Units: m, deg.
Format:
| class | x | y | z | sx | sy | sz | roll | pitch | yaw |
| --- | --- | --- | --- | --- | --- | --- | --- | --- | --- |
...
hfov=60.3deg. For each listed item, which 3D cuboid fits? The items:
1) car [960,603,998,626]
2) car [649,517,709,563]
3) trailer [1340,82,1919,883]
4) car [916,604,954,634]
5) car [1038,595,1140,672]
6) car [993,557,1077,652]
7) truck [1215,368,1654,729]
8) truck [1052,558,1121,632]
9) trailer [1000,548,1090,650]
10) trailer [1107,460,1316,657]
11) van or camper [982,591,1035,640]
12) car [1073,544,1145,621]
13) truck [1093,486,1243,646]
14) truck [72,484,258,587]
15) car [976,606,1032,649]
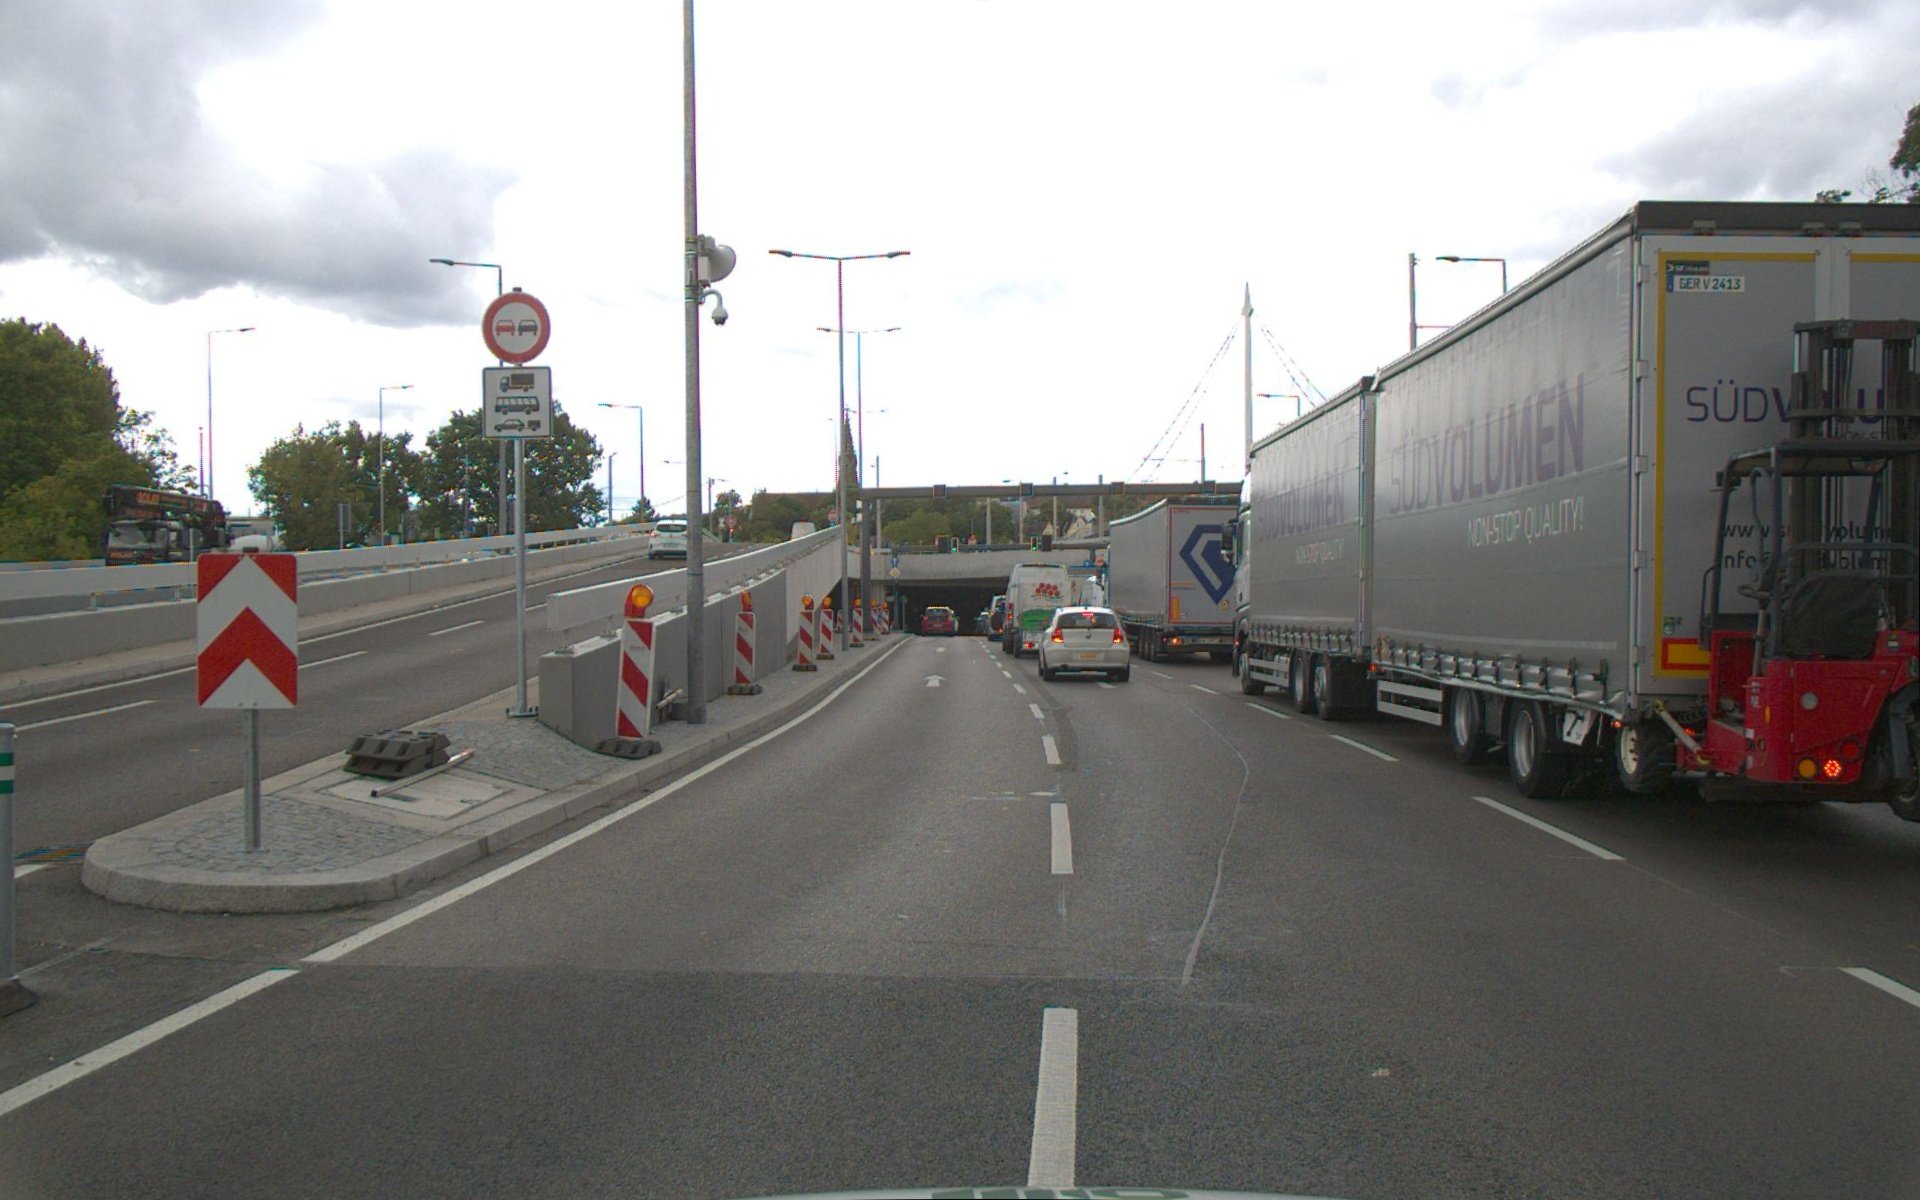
| class | x | y | z | sx | sy | sz | roll | pitch | yaw |
| --- | --- | --- | --- | --- | --- | --- | --- | --- | --- |
| car | 1.232 | 0.938 | 107.665 | 1.956 | 1.411 | 3.994 | 0 | 0 | -7 |
| car | -10.381 | -2.193 | 61.313 | 1.709 | 1.457 | 3.772 | 3 | -1 | -4 |
| trailer | 6.194 | -0.601 | 14.174 | 3.647 | 4.214 | 10.986 | 1 | 0 | 2 |
| car | -1.318 | 1.008 | 86.673 | 1.628 | 1.514 | 3.561 | 0 | -2 | -7 |
| car | 2.567 | 0.657 | 33.725 | 1.681 | 1.422 | 4.347 | 2 | 0 | 0 |
| car | 2.260 | 0.171 | 51.463 | 2.017 | 2.674 | 5.939 | 3 | -1 | -2 |
| truck | 6.458 | -0.608 | 25.049 | 3.647 | 4.214 | 10.984 | 1 | 0 | 1 |
| truck | 5.727 | -0.180 | 76.121 | 2.595 | 3.241 | 7.425 | -1 | -1 | 0 |
| trailer | 2.385 | 0.000 | 47.770 | 2.061 | 2.685 | 4.807 | 3 | -1 | -2 |
| trailer | 6.626 | -1.010 | 46.077 | 3.727 | 4.712 | 12.111 | 1 | 0 | -1 |
| van or camper | 2.013 | 0.641 | 70.523 | 1.953 | 1.877 | 5.507 | 1 | 1 | -1 |
| car | 5.919 | -0.685 | 66.545 | 2.033 | 2.821 | 7.325 | 2 | 0 | -1 |
| truck | 6.507 | -1.020 | 53.079 | 3.728 | 4.712 | 7.440 | 1 | 0 | -1 |
| truck | -29.668 | -2.458 | 62.371 | 2.679 | 3.448 | 10.611 | 2 | 2 | -5 |
| car | 1.674 | 1.048 | 64.343 | 1.650 | 1.572 | 3.687 | 2 | 0 | -7 |
